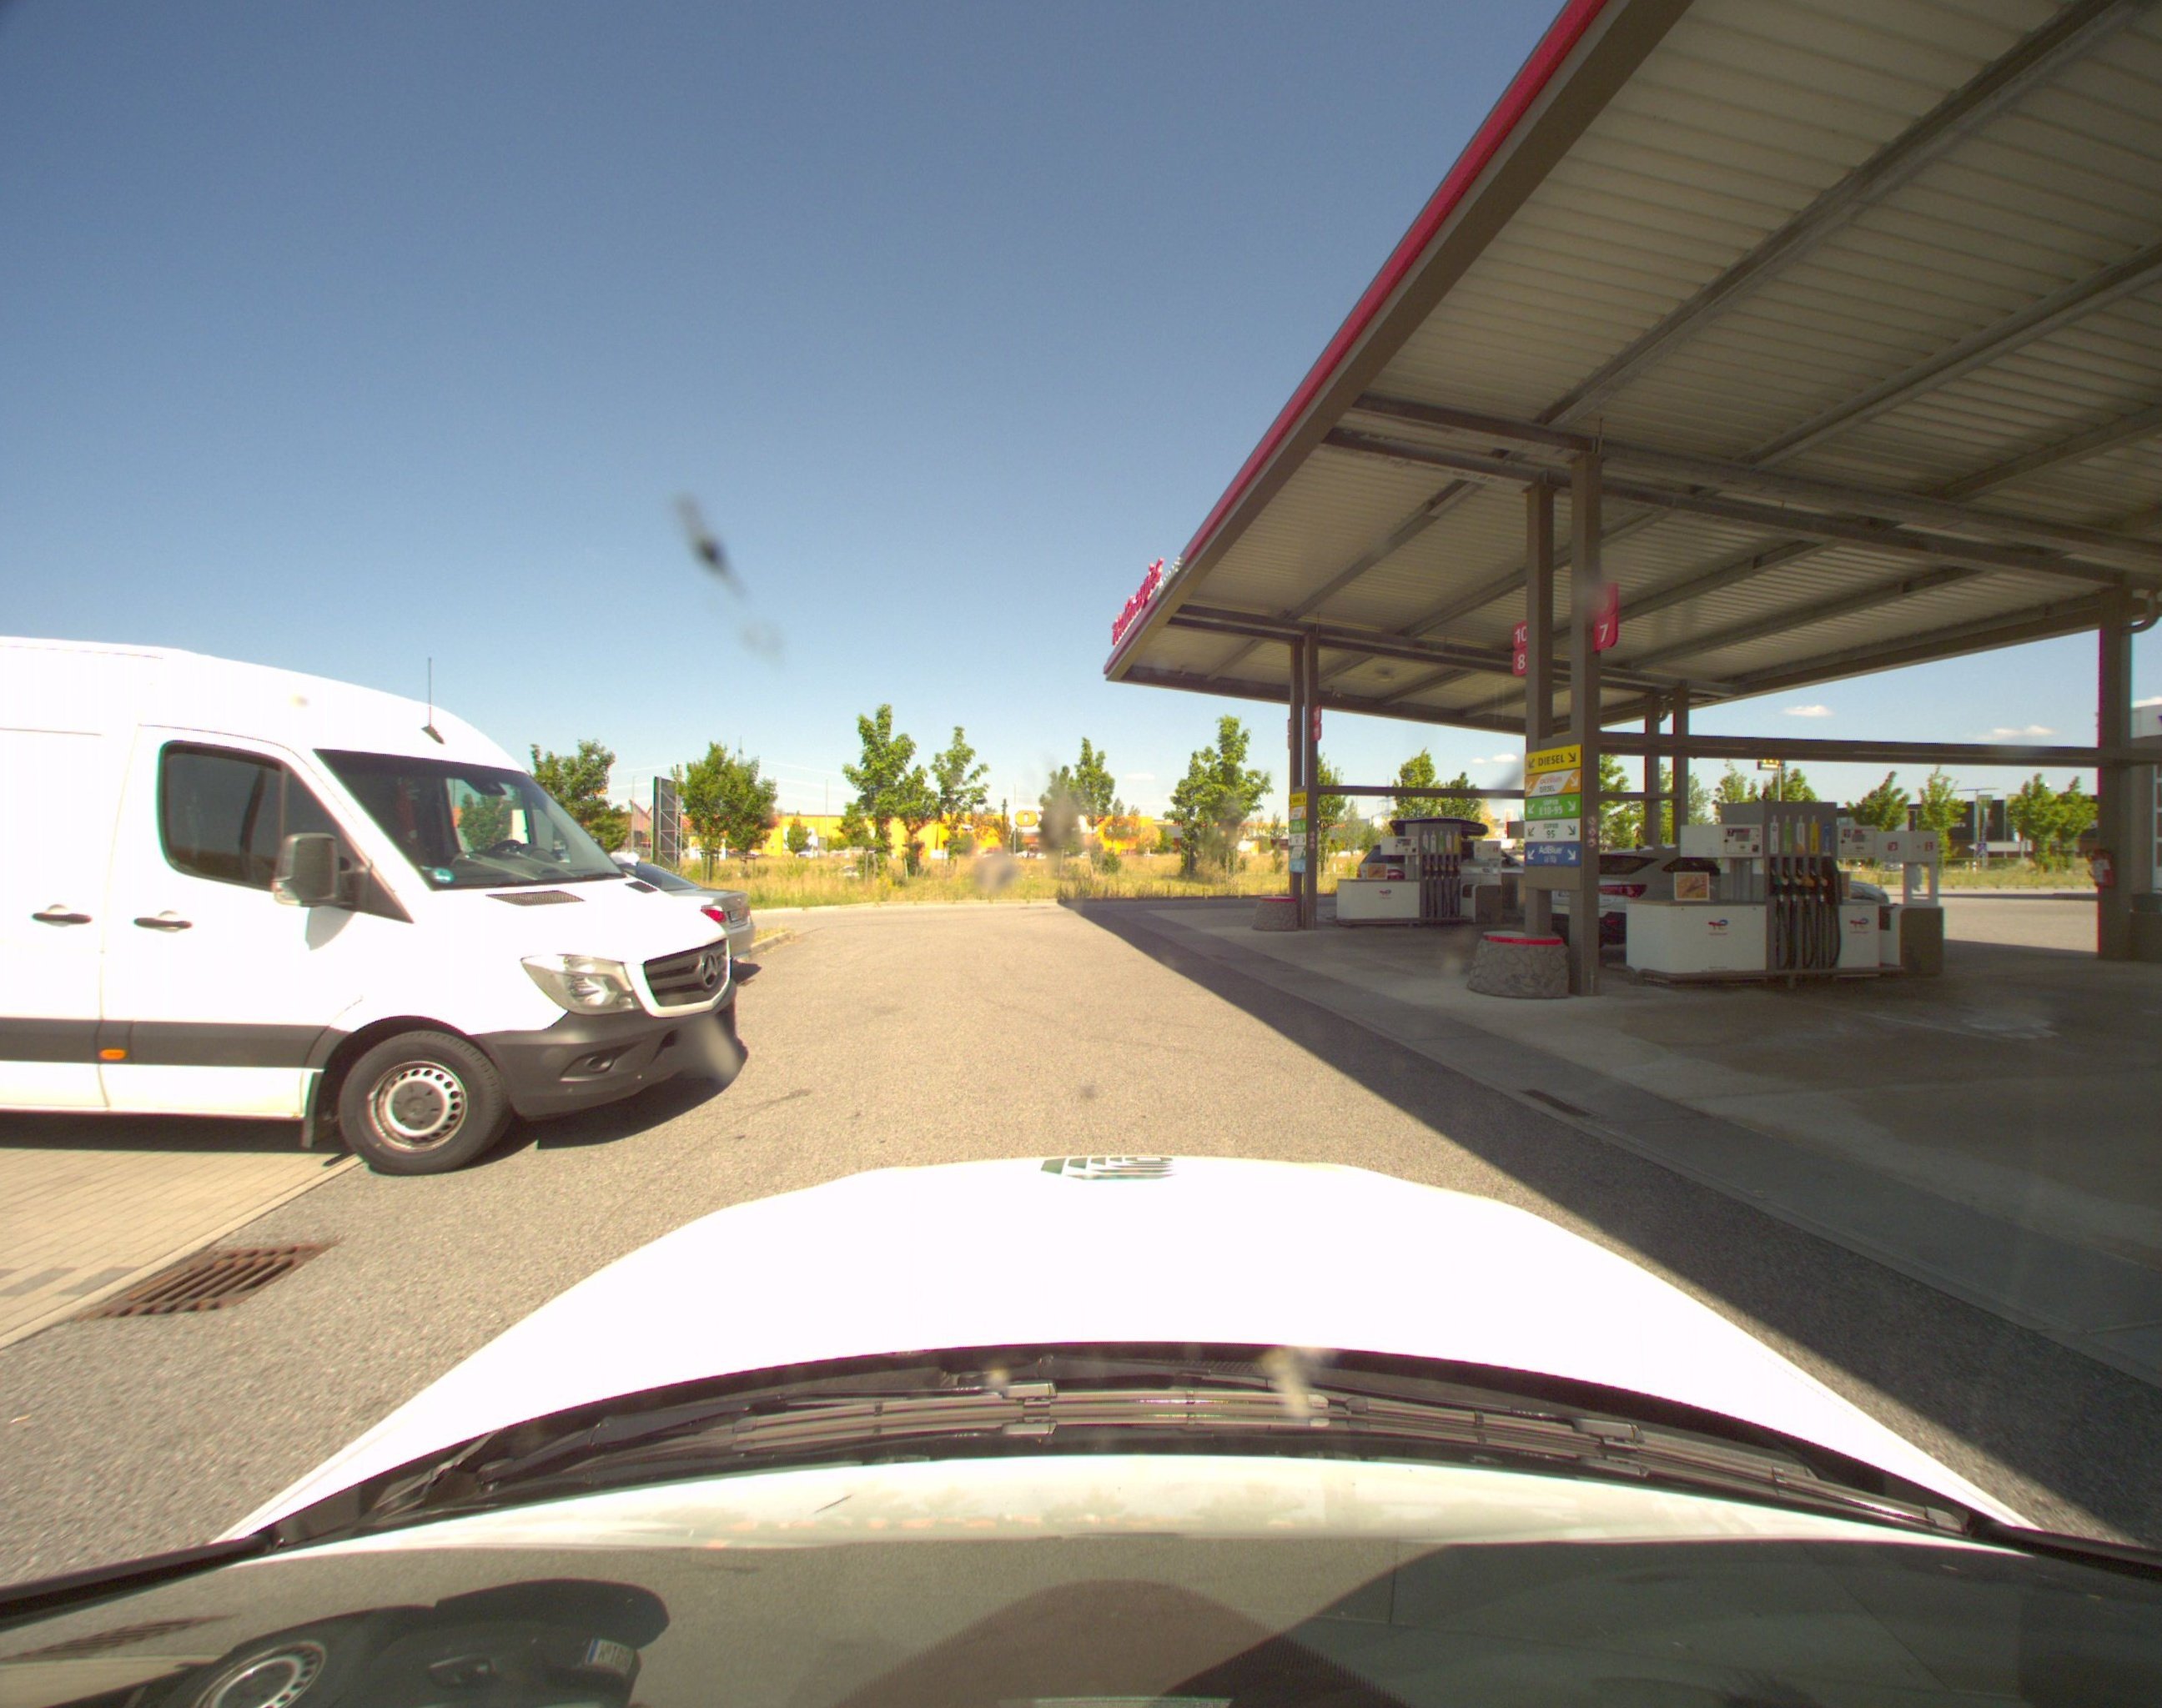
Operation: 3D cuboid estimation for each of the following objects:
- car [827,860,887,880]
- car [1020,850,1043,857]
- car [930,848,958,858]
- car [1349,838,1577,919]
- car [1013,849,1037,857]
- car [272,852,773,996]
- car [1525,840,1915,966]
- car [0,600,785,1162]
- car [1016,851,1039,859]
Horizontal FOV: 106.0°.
[{"bbox_3d":[-15.182,1.090,55.410,3.726,1.299,1.483,0,0,-6],"label":"car"},{"bbox_3d":[-8.773,-0.096,143.109,3.999,1.299,1.754,0,0,-6],"label":"car"},{"bbox_3d":[-22.102,-0.175,131.507,4.365,1.548,1.790,0,0,-6],"label":"car"},{"bbox_3d":[8.629,0.507,18.525,4.524,1.687,1.858,-1,0,-12],"label":"car"},{"bbox_3d":[-8.826,-0.154,128.821,3.695,1.113,1.590,0,0,-6],"label":"car"},{"bbox_3d":[-5.985,0.713,9.251,4.303,1.428,1.789,1,0,-7],"label":"car"},{"bbox_3d":[8.731,0.600,11.306,4.308,1.541,1.781,0,0,-8],"label":"car"},{"bbox_3d":[-5.659,0.082,4.776,6.988,2.571,1.999,2,0,-2],"label":"car"},{"bbox_3d":[-9.595,0.147,146.385,4.151,1.470,1.668,0,0,-6],"label":"car"}]
